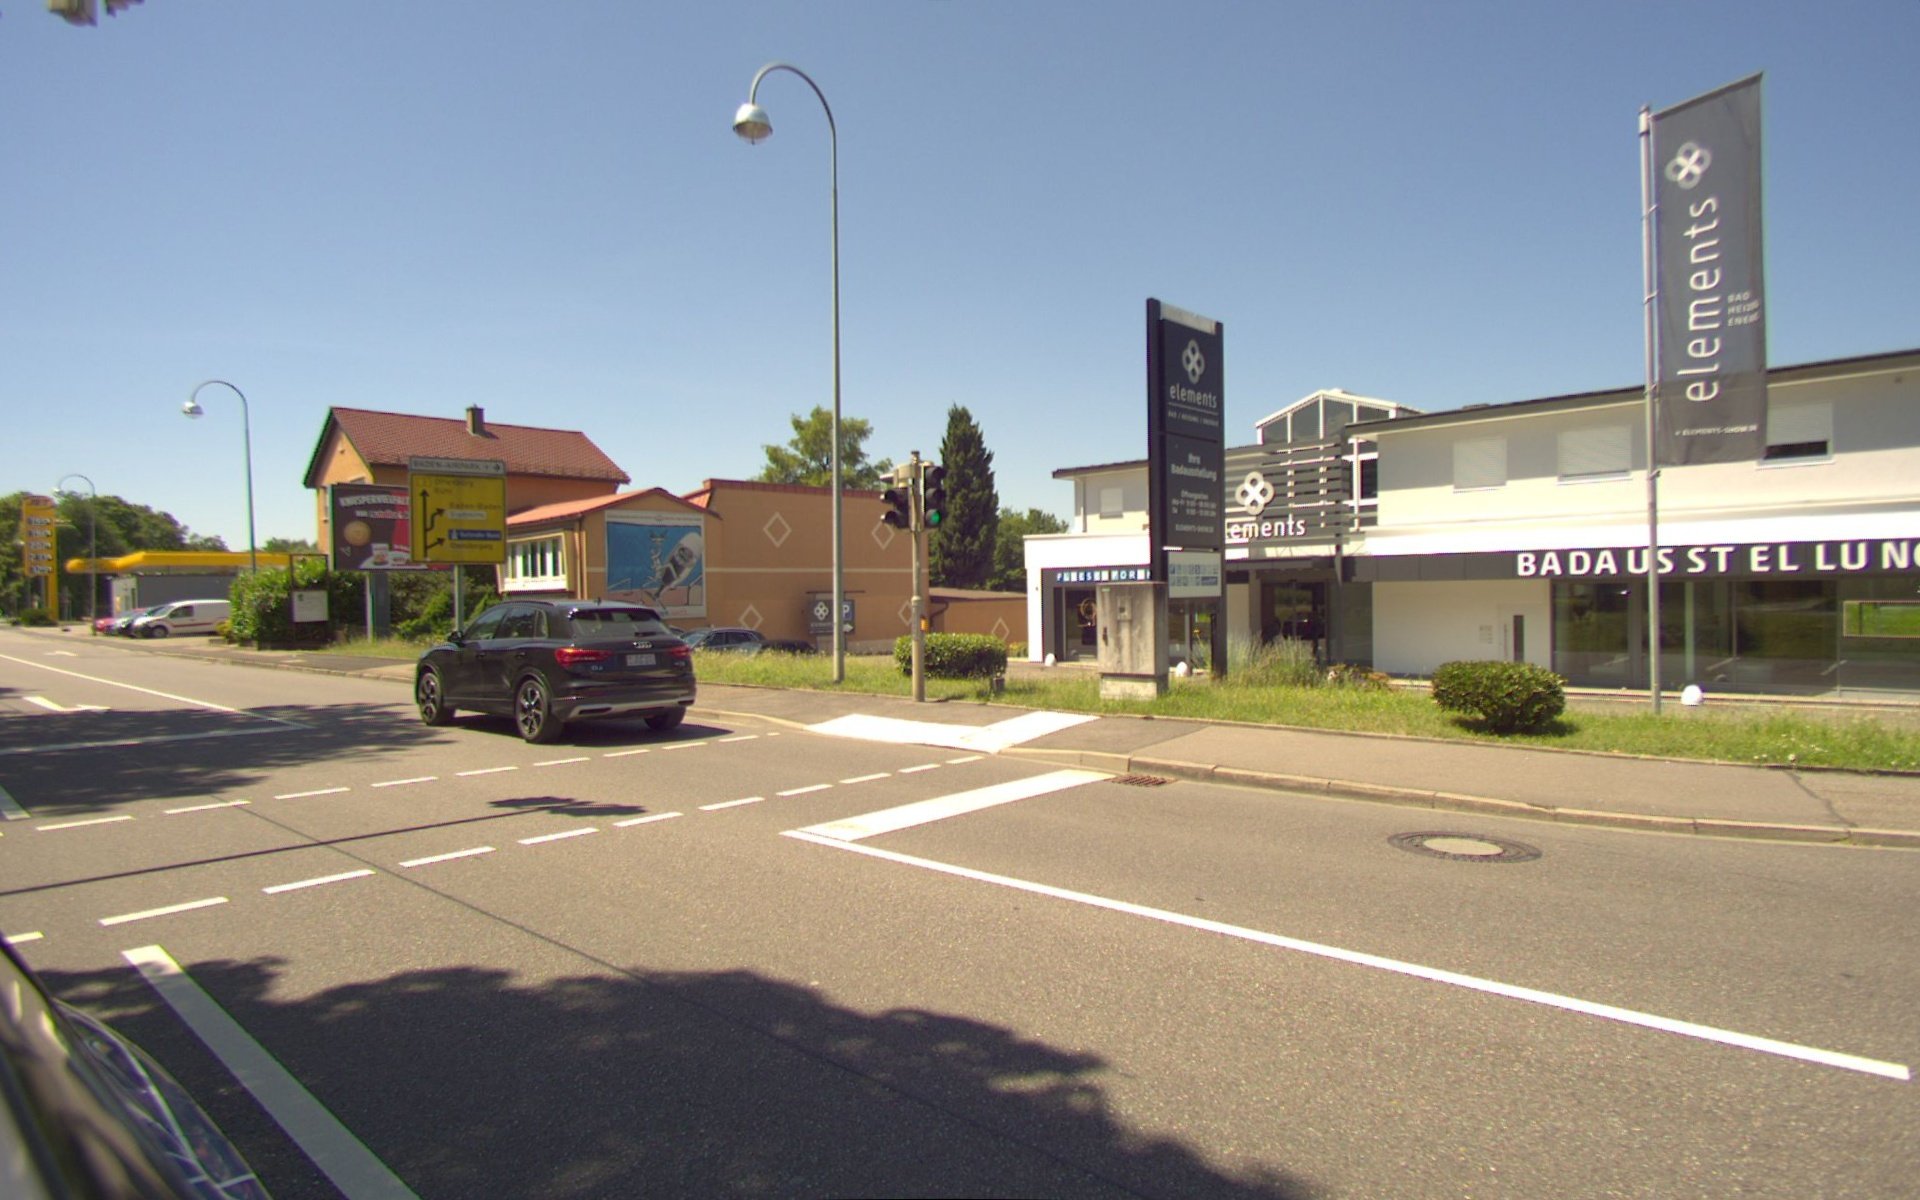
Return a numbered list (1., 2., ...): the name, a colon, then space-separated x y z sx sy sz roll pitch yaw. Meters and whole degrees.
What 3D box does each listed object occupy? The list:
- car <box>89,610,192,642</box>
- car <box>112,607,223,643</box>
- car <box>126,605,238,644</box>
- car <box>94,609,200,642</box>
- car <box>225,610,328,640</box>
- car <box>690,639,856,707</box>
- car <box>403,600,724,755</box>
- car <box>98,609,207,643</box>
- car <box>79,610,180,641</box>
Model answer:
1. car: -47.375 1.466 58.575 1.872 1.773 4.349 -1 -1 37
2. car: -40.883 1.257 52.298 1.872 1.773 4.195 -1 -1 37
3. car: -39.123 1.192 50.995 1.872 1.883 4.141 -1 -1 37
4. car: -45.695 1.411 56.947 1.872 1.773 4.349 -1 -1 37
5. car: -37.643 1.359 55.806 1.872 1.575 4.349 -1 -1 37
6. car: -4.924 1.882 26.987 4.037 1.544 1.773 0 -1 -42
7. car: -4.961 0.818 12.387 4.301 1.567 1.906 -1 -1 41
8. car: -44.124 1.410 55.367 1.872 1.773 4.349 -1 -1 37
9. car: -49.241 1.496 60.087 1.872 1.773 4.349 -1 -1 37
